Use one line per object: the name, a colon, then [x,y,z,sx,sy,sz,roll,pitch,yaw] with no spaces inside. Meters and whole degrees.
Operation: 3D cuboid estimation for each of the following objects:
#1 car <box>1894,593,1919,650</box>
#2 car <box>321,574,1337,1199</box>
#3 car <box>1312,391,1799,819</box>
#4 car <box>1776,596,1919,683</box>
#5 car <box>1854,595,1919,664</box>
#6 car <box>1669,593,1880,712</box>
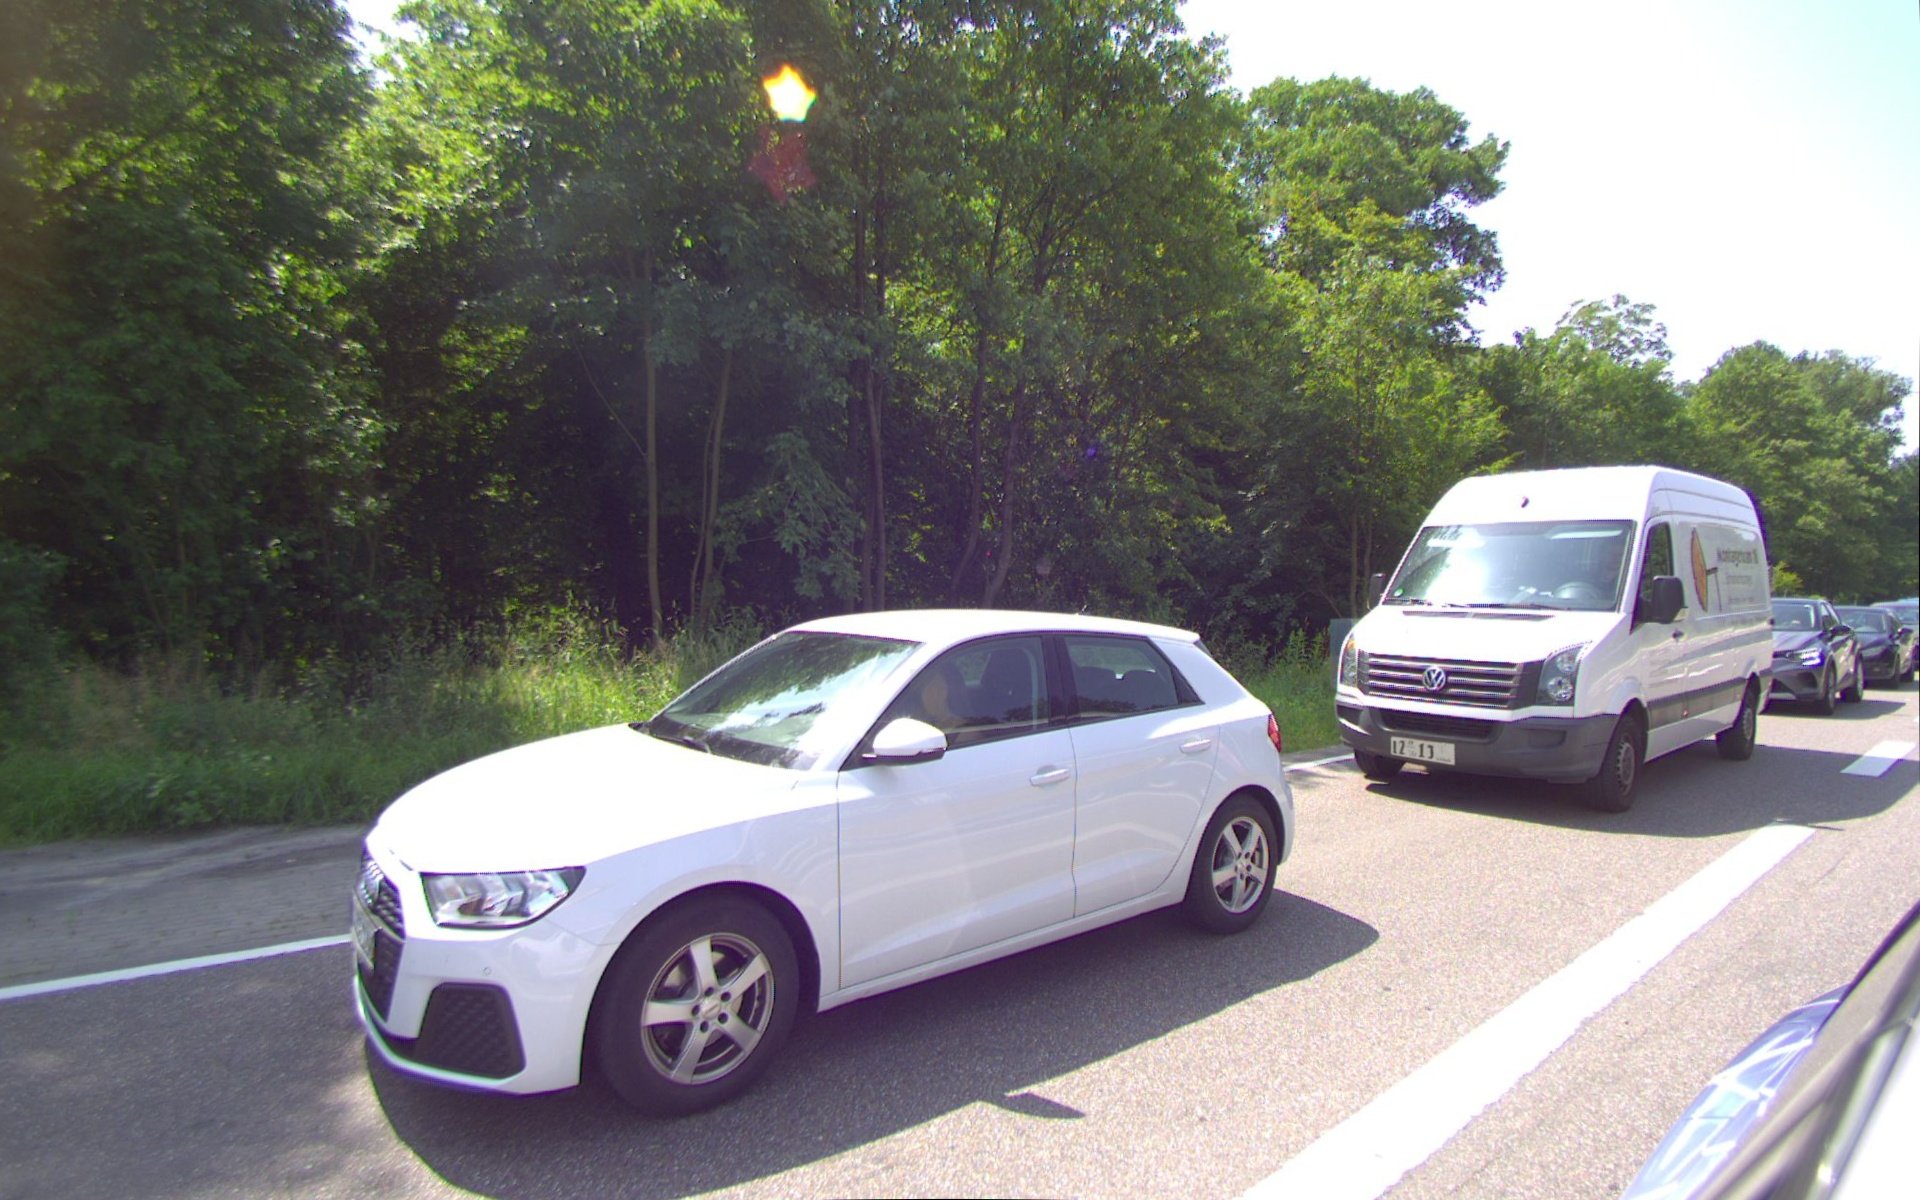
car: [26.683,0.566,27.354,4.157,1.457,1.794,0,1,-43]
car: [-0.270,0.674,4.245,3.927,1.454,1.693,0,-1,-39]
car: [5.611,0.031,9.048,5.953,2.679,1.973,0,0,-41]
car: [16.607,0.642,18.702,4.157,1.372,1.794,0,1,-43]
car: [22.151,0.637,23.415,4.157,1.457,1.794,0,1,-43]
car: [11.858,0.638,14.636,4.157,1.479,1.794,0,0,-43]
